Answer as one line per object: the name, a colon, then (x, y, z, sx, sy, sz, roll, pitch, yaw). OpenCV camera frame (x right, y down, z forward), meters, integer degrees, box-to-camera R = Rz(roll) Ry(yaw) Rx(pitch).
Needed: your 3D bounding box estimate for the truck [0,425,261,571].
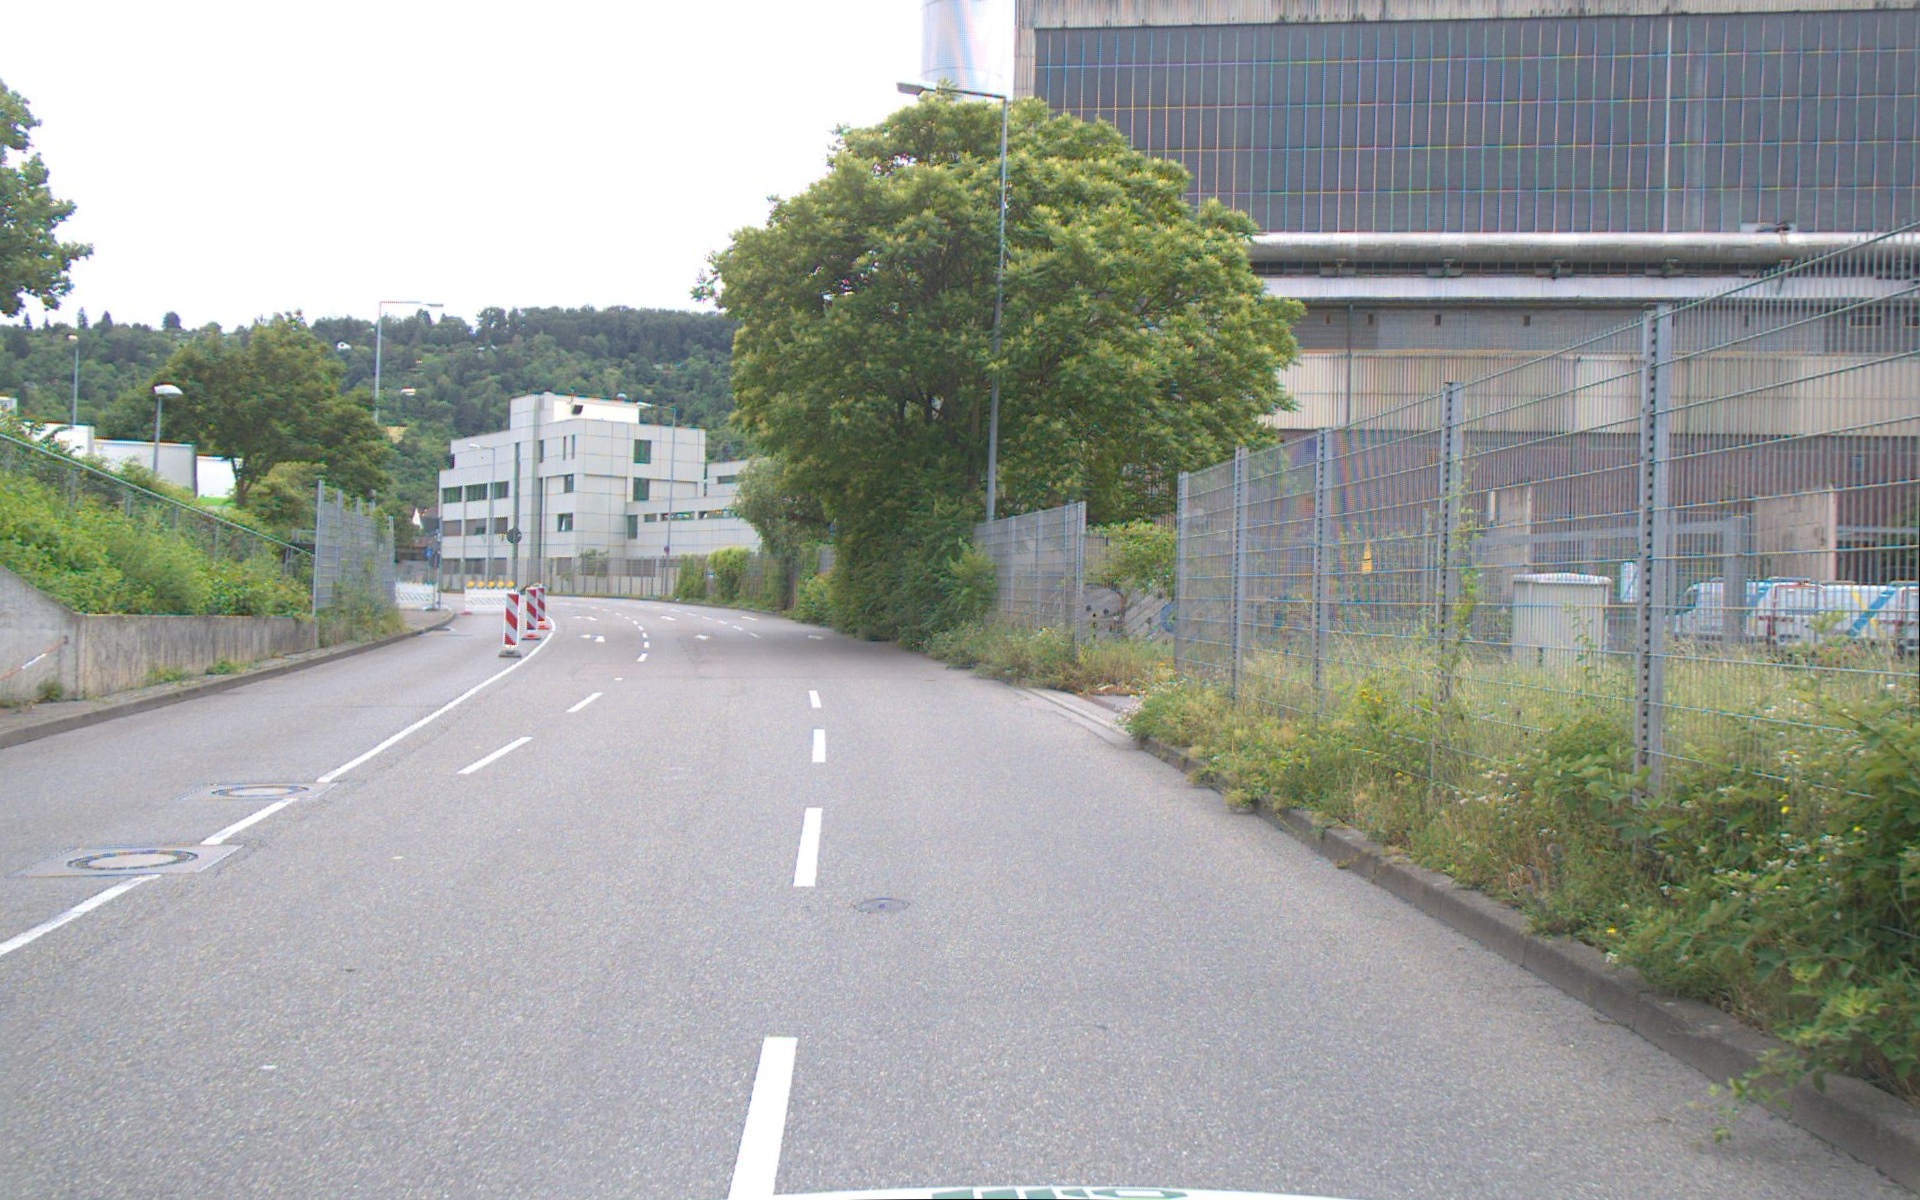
truck: (-24.553, -2.816, 47.394, 7.786, 3.600, 3.010, 2, -2, -38)

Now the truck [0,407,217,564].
truck: (-23.731, -2.928, 42.798, 7.775, 3.600, 3.015, 2, -2, -35)

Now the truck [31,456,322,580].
truck: (-28.977, -2.943, 61.764, 9.487, 4.061, 3.031, 1, -1, -23)

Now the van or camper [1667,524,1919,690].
van or camper: (28.370, 0.345, 50.448, 11.600, 4.610, 5.468, 1, -1, -13)

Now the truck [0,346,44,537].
truck: (-22.383, -3.277, 31.611, 8.078, 3.600, 3.008, 2, -2, -40)

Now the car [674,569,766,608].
car: (-15.386, -0.743, 105.746, 6.044, 2.302, 1.993, 2, -1, 35)

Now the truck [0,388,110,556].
truck: (-23.899, -3.010, 37.453, 7.792, 3.600, 3.008, 2, -2, -40)
